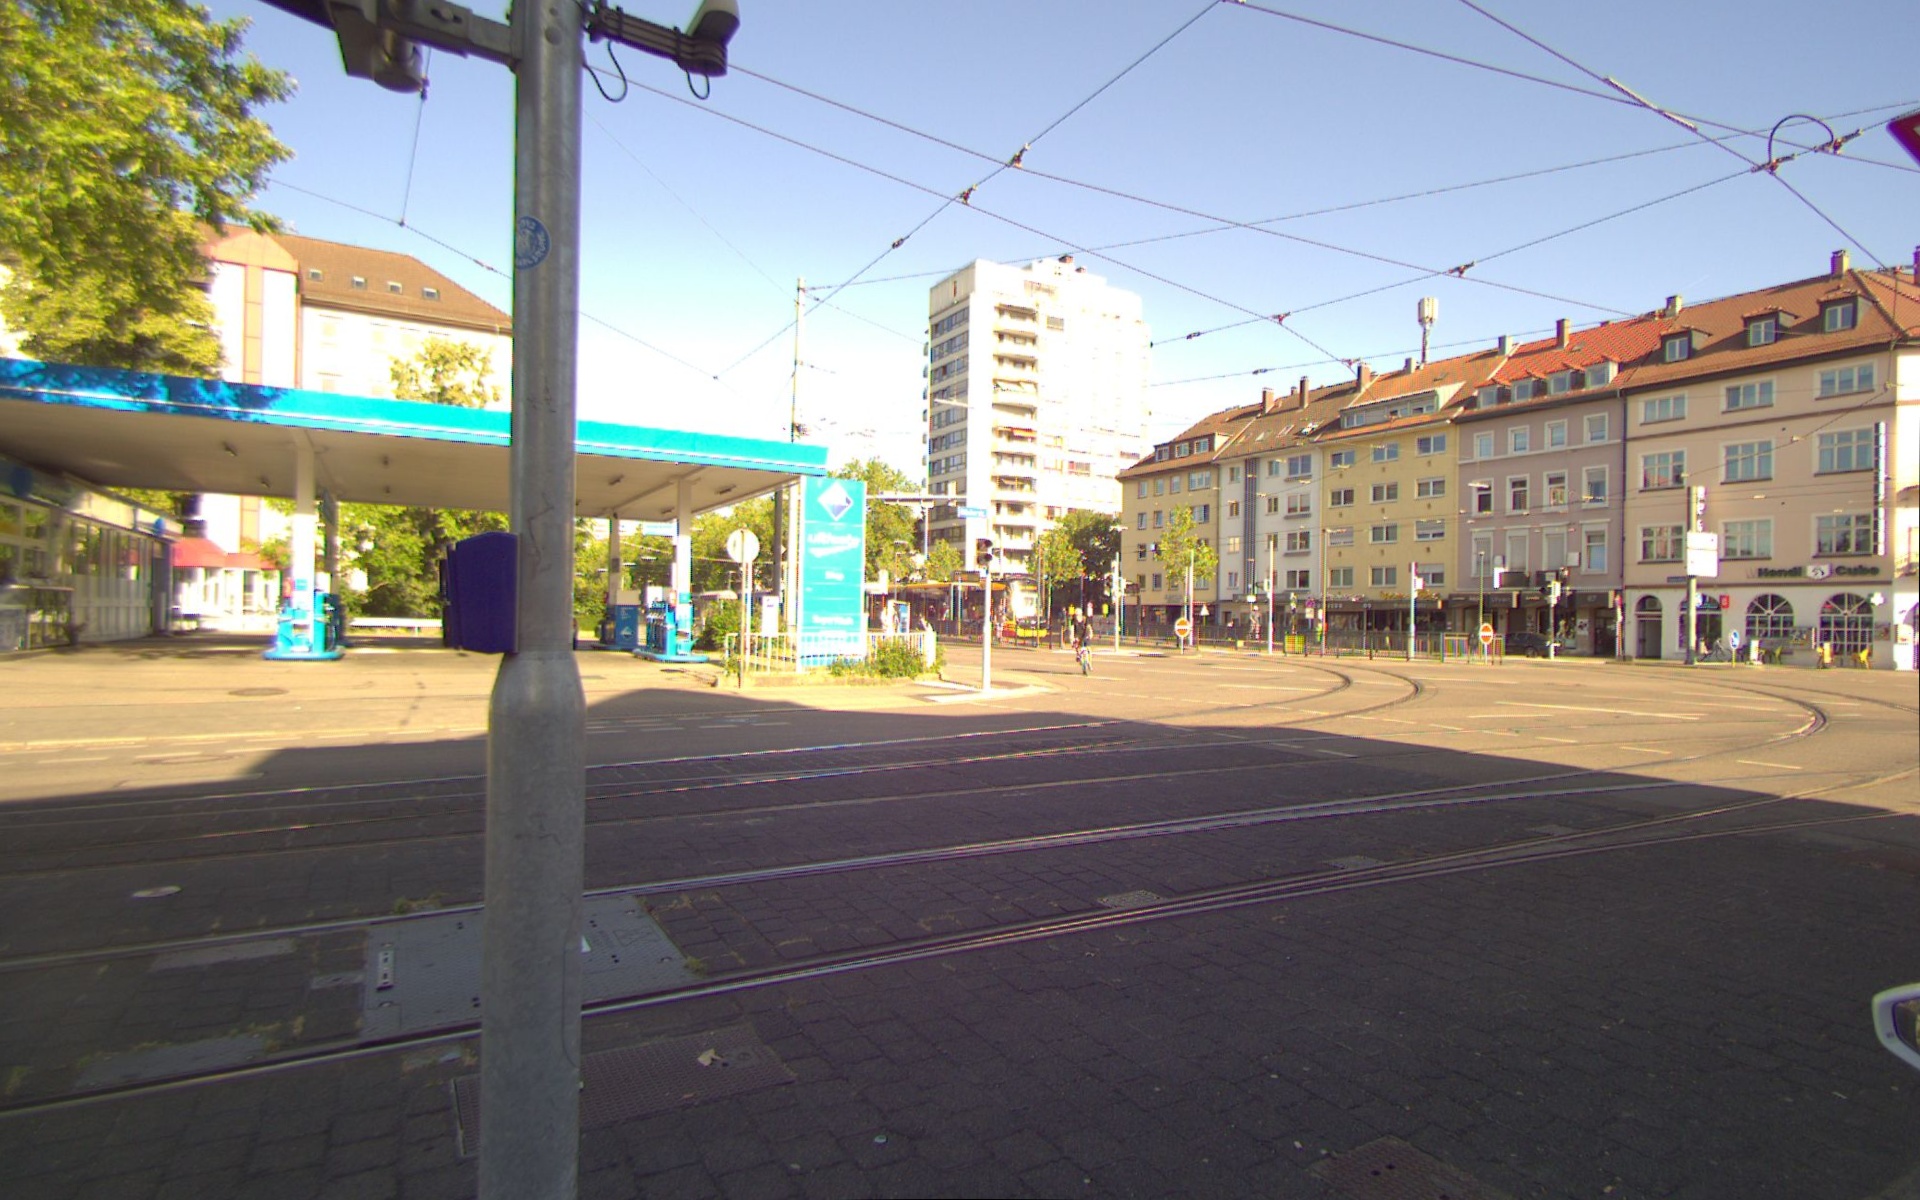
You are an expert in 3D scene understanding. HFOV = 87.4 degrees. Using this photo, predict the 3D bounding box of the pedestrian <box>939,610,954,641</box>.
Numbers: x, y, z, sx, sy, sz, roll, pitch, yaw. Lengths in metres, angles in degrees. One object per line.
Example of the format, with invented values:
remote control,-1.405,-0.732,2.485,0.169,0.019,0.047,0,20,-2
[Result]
pedestrian,-0.720,1.381,54.264,0.580,1.613,0.520,2,0,-31

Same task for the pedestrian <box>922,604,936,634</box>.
pedestrian,-1.721,1.065,56.152,0.580,1.613,0.520,2,0,-31

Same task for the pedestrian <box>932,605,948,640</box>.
pedestrian,-1.125,1.237,55.732,0.666,1.913,0.520,2,0,-31

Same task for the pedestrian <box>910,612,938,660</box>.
pedestrian,-1.252,1.260,35.248,0.675,1.656,0.694,2,0,-35

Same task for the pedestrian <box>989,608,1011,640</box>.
pedestrian,1.941,1.174,49.072,0.814,1.532,0.699,1,-1,-33

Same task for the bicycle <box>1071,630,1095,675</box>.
bicycle,3.210,1.345,26.341,0.563,1.084,1.795,2,0,6

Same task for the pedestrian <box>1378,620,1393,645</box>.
pedestrian,28.150,2.151,66.494,0.693,1.656,0.629,2,0,-33

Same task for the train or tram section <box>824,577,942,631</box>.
train or tram section,-5.486,0.203,67.985,2.751,3.273,12.286,2,0,-31

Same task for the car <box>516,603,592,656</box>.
car,-12.172,0.855,30.031,1.764,1.411,3.455,2,0,-28

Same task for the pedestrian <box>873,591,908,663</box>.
pedestrian,-1.858,0.712,26.994,0.778,1.893,0.674,2,0,6

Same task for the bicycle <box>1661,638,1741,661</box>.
bicycle,37.498,2.496,50.885,0.989,0.993,3.115,2,0,-29

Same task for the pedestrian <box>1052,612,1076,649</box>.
pedestrian,4.496,1.329,43.639,0.810,1.608,0.702,1,-1,-18

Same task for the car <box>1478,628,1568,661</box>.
car,30.853,2.422,55.130,1.970,1.692,3.981,1,-1,-21

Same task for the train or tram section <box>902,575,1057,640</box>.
train or tram section,0.770,0.346,57.482,2.751,3.273,12.286,2,0,-31

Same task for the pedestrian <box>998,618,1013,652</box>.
pedestrian,2.276,1.767,50.372,0.575,1.686,0.525,2,0,15

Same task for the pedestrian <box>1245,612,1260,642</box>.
pedestrian,16.449,1.535,56.466,0.570,1.649,0.522,2,0,-31

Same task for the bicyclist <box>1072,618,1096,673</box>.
bicyclist,3.251,1.177,26.378,0.549,1.384,0.803,2,0,5
